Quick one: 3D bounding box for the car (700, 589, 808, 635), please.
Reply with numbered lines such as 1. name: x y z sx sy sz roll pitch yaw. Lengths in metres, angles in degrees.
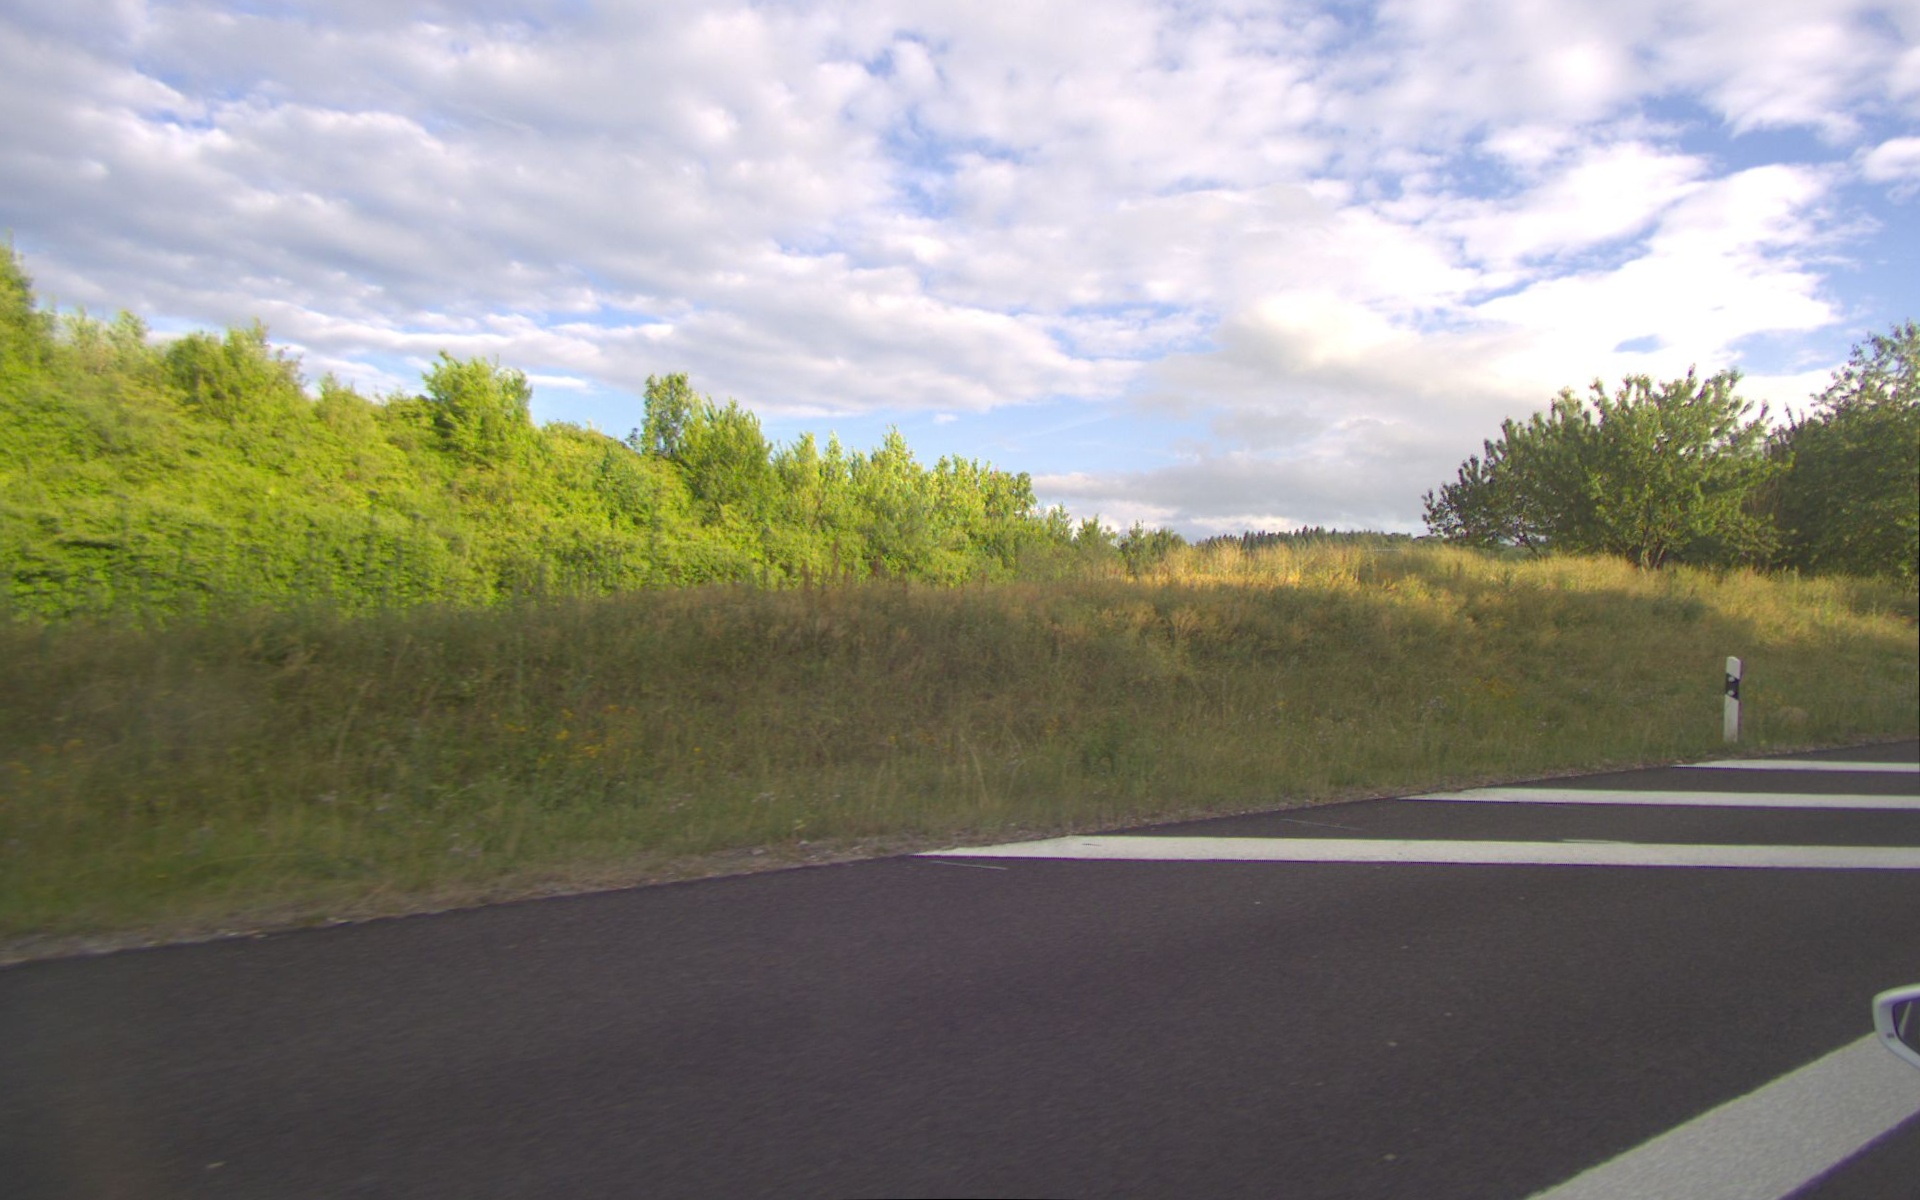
1. car: -8.095 0.507 39.748 1.808 1.657 3.987 0 -2 35
